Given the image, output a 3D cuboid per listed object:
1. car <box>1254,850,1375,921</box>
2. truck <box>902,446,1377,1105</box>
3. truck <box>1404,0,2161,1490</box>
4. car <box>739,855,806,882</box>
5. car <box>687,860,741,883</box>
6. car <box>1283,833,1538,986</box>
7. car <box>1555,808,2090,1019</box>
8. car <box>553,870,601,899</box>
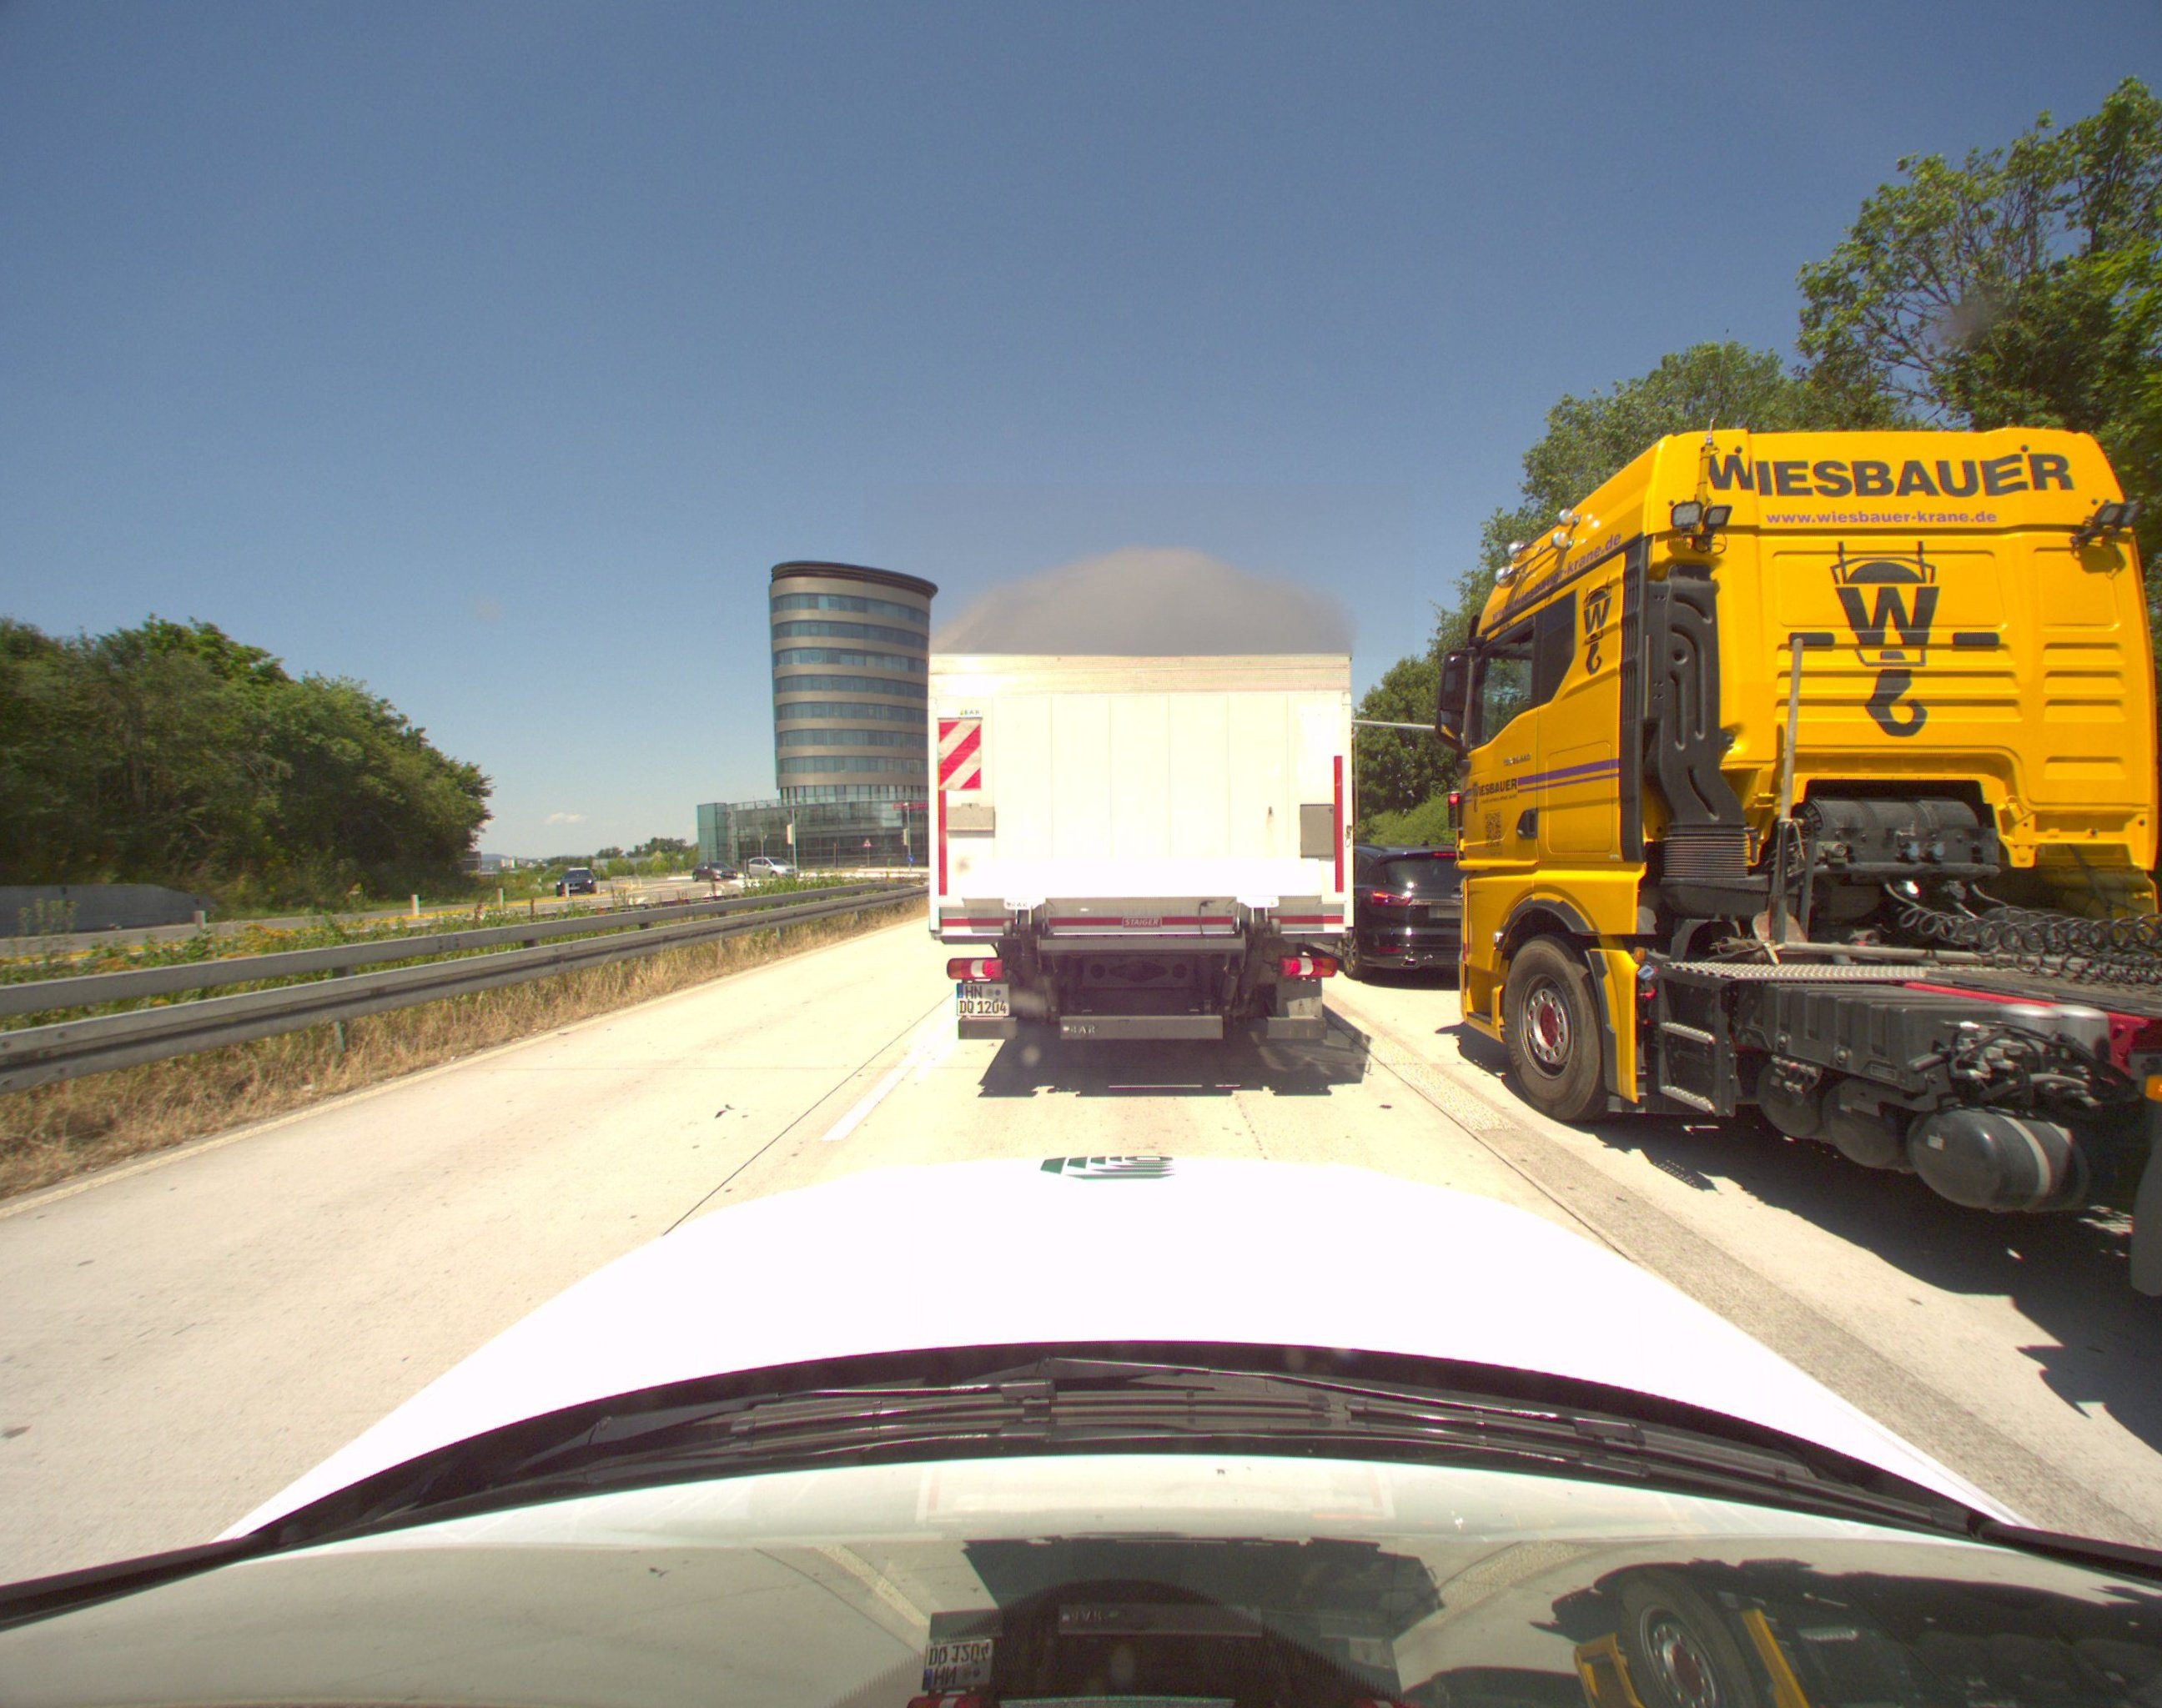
[{"bbox_3d":[5.119,0.645,18.459,1.759,1.410,4.615,0,-1,5],"label":"car"},{"bbox_3d":[0.484,-0.426,9.473,2.759,3.860,9.374,0,-1,2],"label":"truck"},{"bbox_3d":[3.924,-0.464,2.431,3.003,3.772,7.470,0,0,1],"label":"truck"},{"bbox_3d":[-20.664,0.988,54.567,4.274,1.595,1.788,-3,-2,29],"label":"car"},{"bbox_3d":[-26.696,1.276,59.209,4.273,1.456,1.708,-3,-2,37],"label":"car"},{"bbox_3d":[4.120,0.620,11.090,1.776,1.639,4.650,0,-1,3],"label":"car"},{"bbox_3d":[7.811,0.529,9.439,1.763,1.807,4.789,0,-1,-2],"label":"car"},{"bbox_3d":[-28.093,1.677,45.495,1.719,1.485,4.259,0,-1,-24],"label":"car"}]
